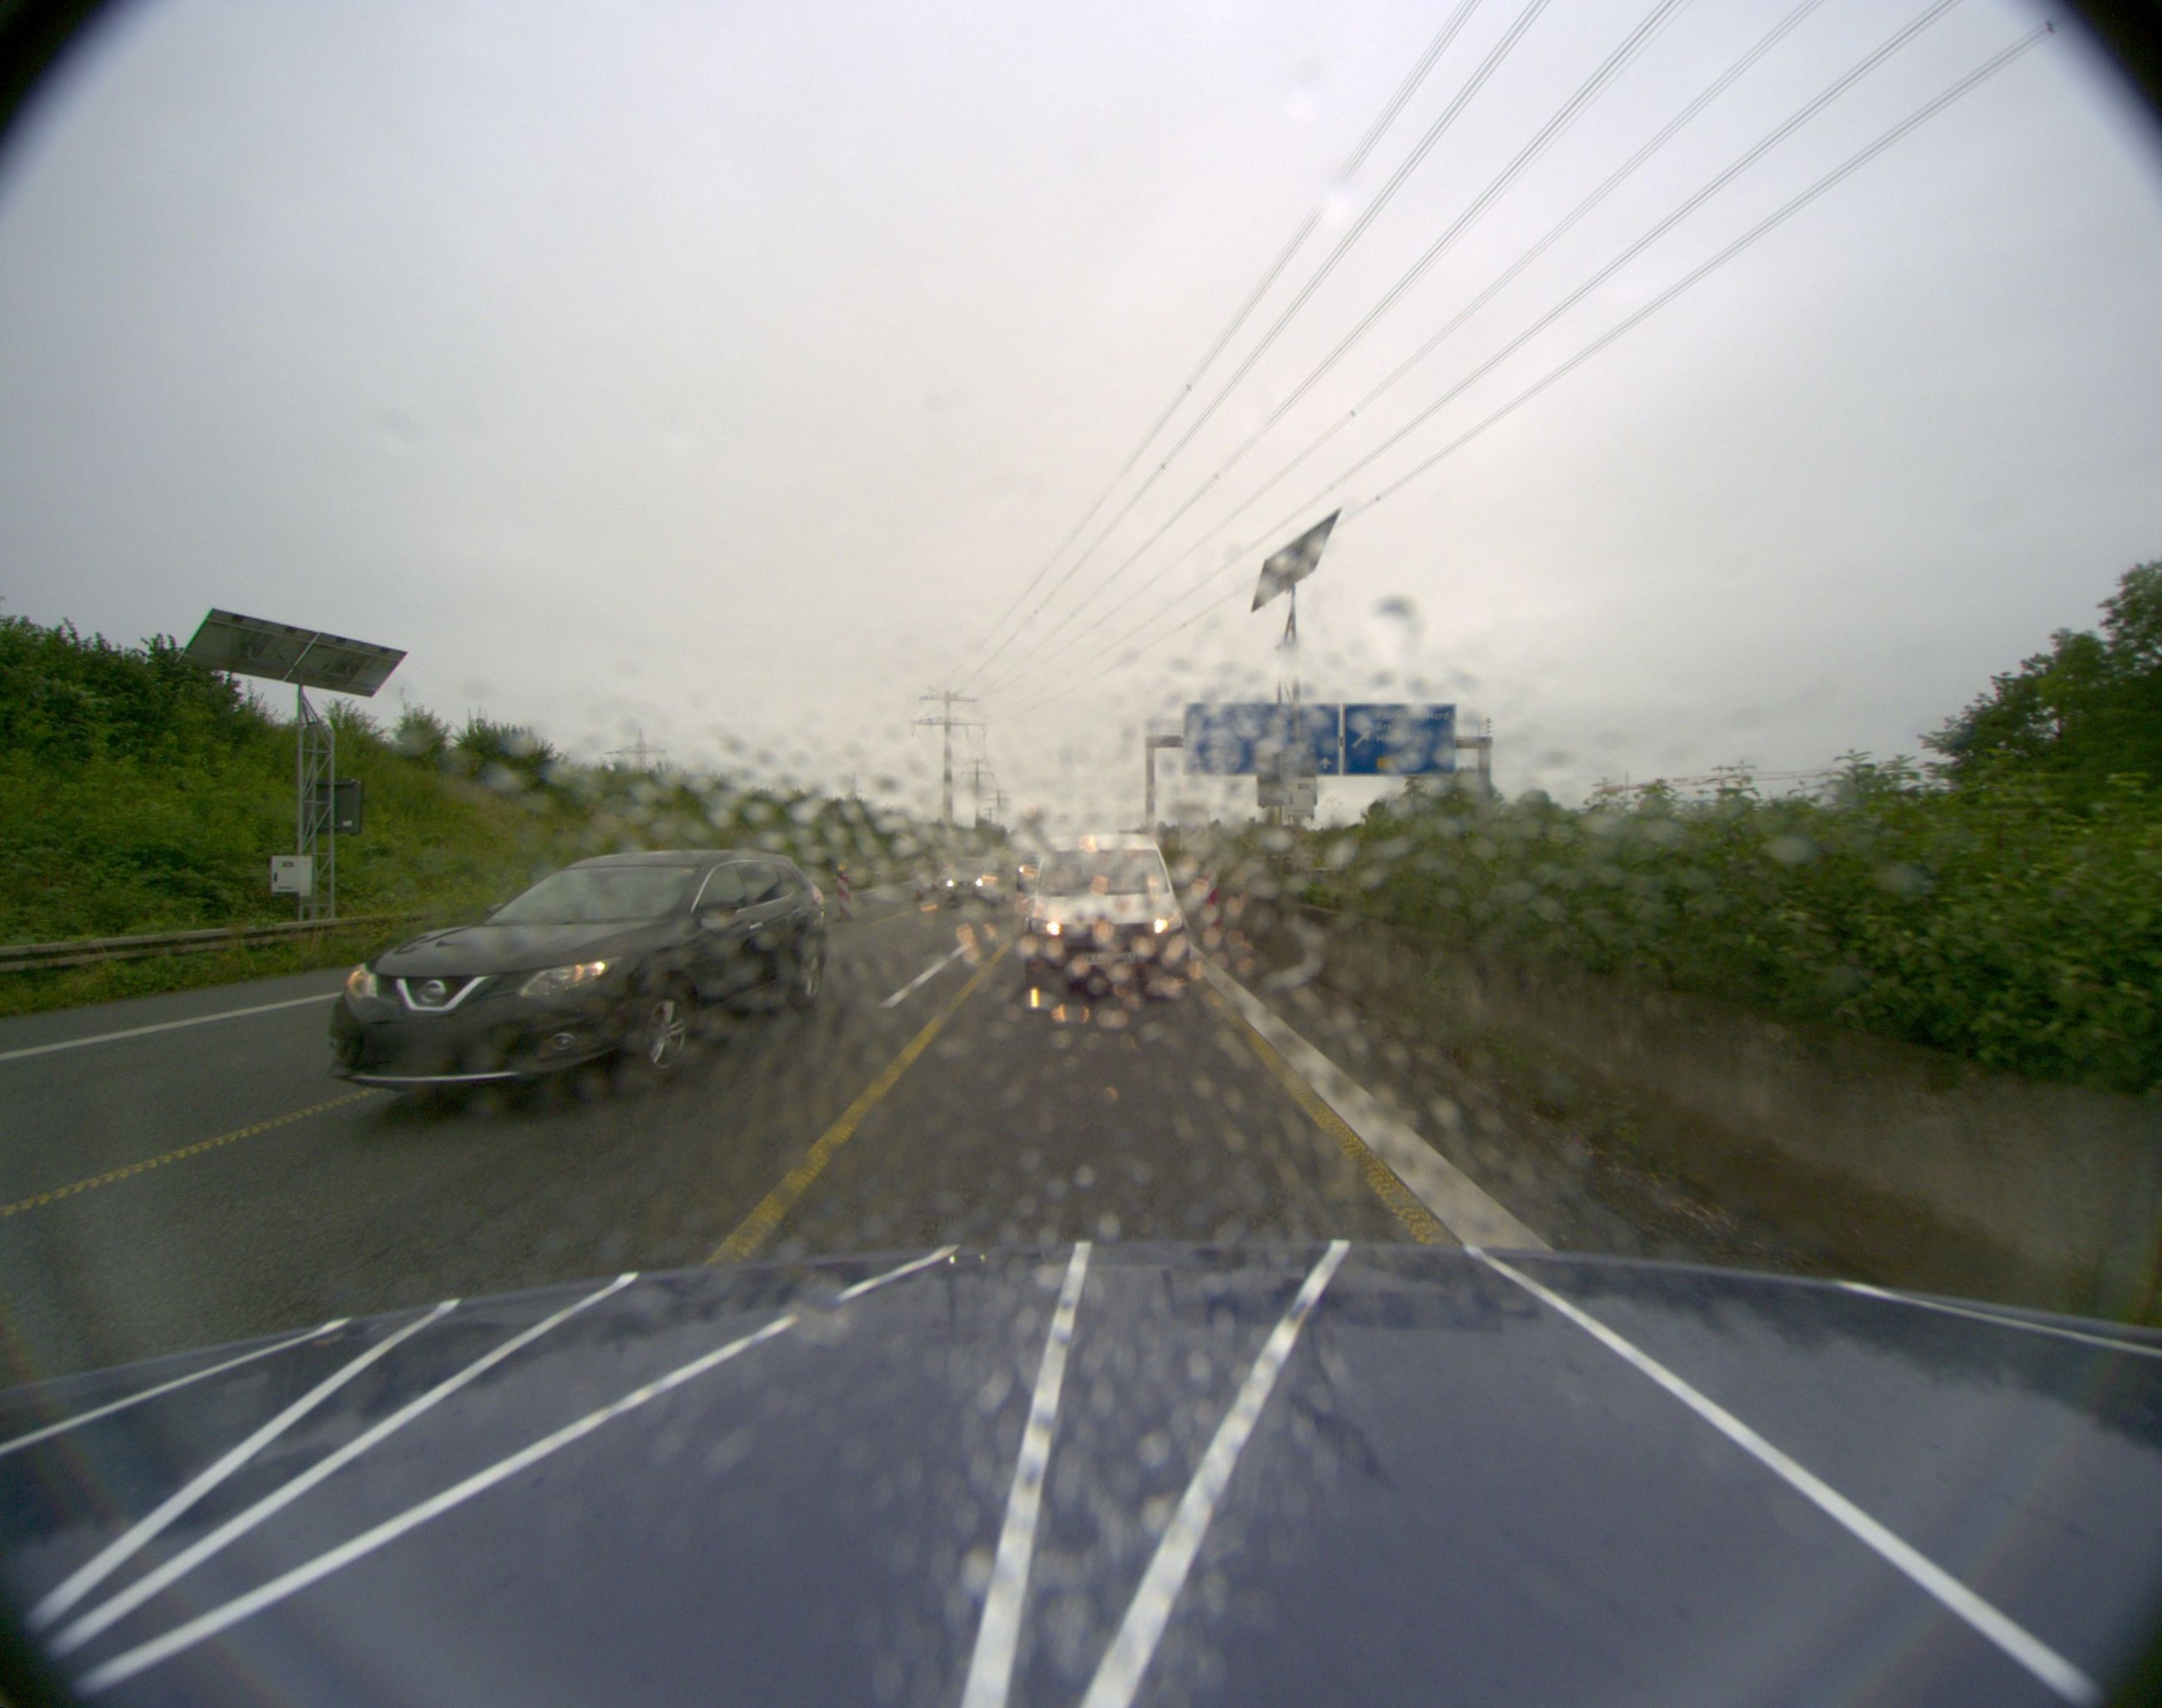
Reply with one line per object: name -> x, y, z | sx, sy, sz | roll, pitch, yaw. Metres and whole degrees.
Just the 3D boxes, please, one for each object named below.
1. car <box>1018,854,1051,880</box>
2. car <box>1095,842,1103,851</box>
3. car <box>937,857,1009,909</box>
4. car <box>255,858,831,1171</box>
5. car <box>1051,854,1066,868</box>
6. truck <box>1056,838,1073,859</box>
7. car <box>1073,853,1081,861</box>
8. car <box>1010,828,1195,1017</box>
car -> -2.840, 0.776, 46.865 | 1.804, 1.432, 4.149 | -2, 0, -1
car -> 4.336, -1.902, 185.203 | 1.785, 2.002, 4.000 | -2, 1, 1
car -> -3.463, 0.884, 25.137 | 1.804, 1.523, 4.149 | -2, 0, -1
car -> -3.665, 0.897, 6.331 | 1.689, 1.649, 4.280 | -2, 0, 0
car -> -2.807, 0.881, 94.653 | 1.804, 1.598, 4.149 | -2, 0, -1
truck -> -3.081, -1.057, 145.467 | 2.875, 4.007, 8.308 | -1, 0, 1
car -> -1.080, 0.693, 189.763 | 1.784, 2.002, 4.000 | -2, 0, 1
car -> 0.231, 0.665, 9.624 | 1.768, 1.803, 4.345 | -2, 0, 1
